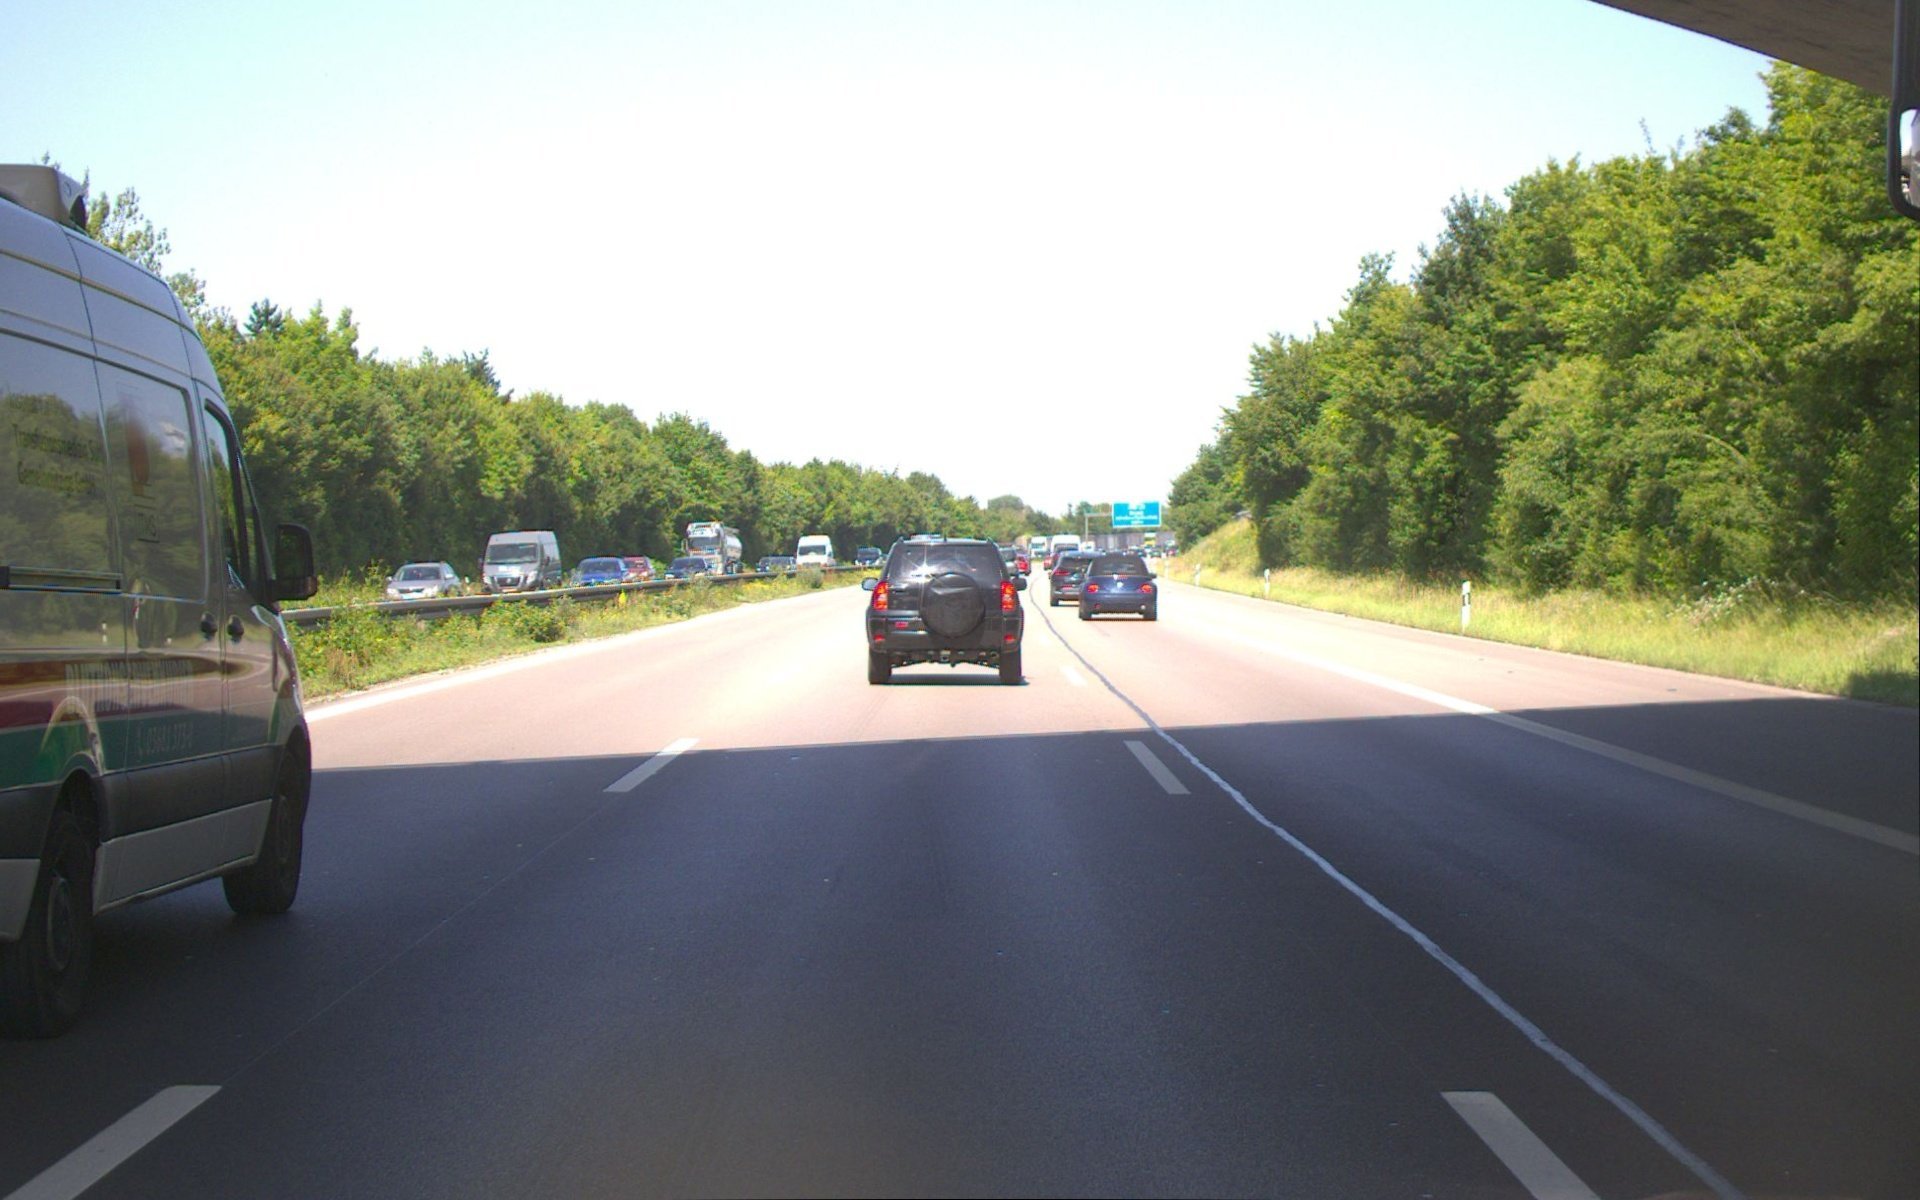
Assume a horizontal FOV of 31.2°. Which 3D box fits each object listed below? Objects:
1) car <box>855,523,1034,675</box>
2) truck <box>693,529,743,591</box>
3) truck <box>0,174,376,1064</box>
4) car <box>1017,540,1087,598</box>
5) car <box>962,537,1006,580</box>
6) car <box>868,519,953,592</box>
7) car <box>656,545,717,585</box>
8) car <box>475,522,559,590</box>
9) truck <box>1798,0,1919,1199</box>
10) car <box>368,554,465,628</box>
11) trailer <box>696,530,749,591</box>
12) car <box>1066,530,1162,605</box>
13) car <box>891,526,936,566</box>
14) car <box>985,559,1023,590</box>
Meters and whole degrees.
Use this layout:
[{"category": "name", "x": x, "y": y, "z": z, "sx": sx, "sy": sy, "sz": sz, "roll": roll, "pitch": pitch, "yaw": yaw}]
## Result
[{"category": "car", "x": -0.232, "y": -0.009, "z": 39.978, "sx": 1.906, "sy": 1.659, "sz": 4.000, "roll": -1, "pitch": 0, "yaw": -3}, {"category": "truck", "x": -15.839, "y": -2.610, "z": 225.635, "sx": 2.731, "sy": 3.869, "sz": 6.322, "roll": -3, "pitch": 1, "yaw": -1}, {"category": "truck", "x": -3.701, "y": -0.001, "z": 12.295, "sx": 1.993, "sy": 2.533, "sz": 6.692, "roll": 1, "pitch": 1, "yaw": 1}, {"category": "car", "x": 2.645, "y": -0.881, "z": 99.538, "sx": 1.842, "sy": 1.606, "sz": 4.000, "roll": -1, "pitch": 0, "yaw": -1}, {"category": "car", "x": 1.148, "y": -2.016, "z": 167.006, "sx": 1.993, "sy": 2.007, "sz": 4.768, "roll": -1, "pitch": 1, "yaw": -1}, {"category": "car", "x": -1.192, "y": -1.105, "z": 84.459, "sx": 1.993, "sy": 1.700, "sz": 4.336, "roll": -1, "pitch": 1, "yaw": 0}, {"category": "car", "x": -11.202, "y": -1.452, "z": 141.077, "sx": 1.993, "sy": 1.602, "sz": 4.648, "roll": -1, "pitch": 1, "yaw": 2}, {"category": "car", "x": -15.143, "y": -1.481, "z": 117.727, "sx": 1.993, "sy": 2.227, "sz": 6.517, "roll": -1, "pitch": 0, "yaw": 0}, {"category": "truck", "x": 3.308, "y": -0.294, "z": 4.774, "sx": 2.638, "sy": 3.363, "sz": 6.488, "roll": 0, "pitch": 1, "yaw": 0}, {"category": "car", "x": -15.805, "y": -0.262, "z": 100.291, "sx": 1.993, "sy": 2.089, "sz": 5.249, "roll": -1, "pitch": 0, "yaw": 0}, {"category": "trailer", "x": -15.927, "y": -2.695, "z": 230.860, "sx": 2.766, "sy": 3.869, "sz": 9.457, "roll": -3, "pitch": 1, "yaw": 0}, {"category": "car", "x": 3.521, "y": -0.725, "z": 79.183, "sx": 1.993, "sy": 1.678, "sz": 4.000, "roll": -1, "pitch": 0, "yaw": 0}, {"category": "car", "x": -2.362, "y": -2.769, "z": 176.289, "sx": 1.994, "sy": 2.007, "sz": 4.949, "roll": -1, "pitch": 1, "yaw": 3}, {"category": "car", "x": 2.557, "y": -1.524, "z": 200.836, "sx": 1.993, "sy": 1.744, "sz": 4.205, "roll": -1, "pitch": 1, "yaw": -2}]
